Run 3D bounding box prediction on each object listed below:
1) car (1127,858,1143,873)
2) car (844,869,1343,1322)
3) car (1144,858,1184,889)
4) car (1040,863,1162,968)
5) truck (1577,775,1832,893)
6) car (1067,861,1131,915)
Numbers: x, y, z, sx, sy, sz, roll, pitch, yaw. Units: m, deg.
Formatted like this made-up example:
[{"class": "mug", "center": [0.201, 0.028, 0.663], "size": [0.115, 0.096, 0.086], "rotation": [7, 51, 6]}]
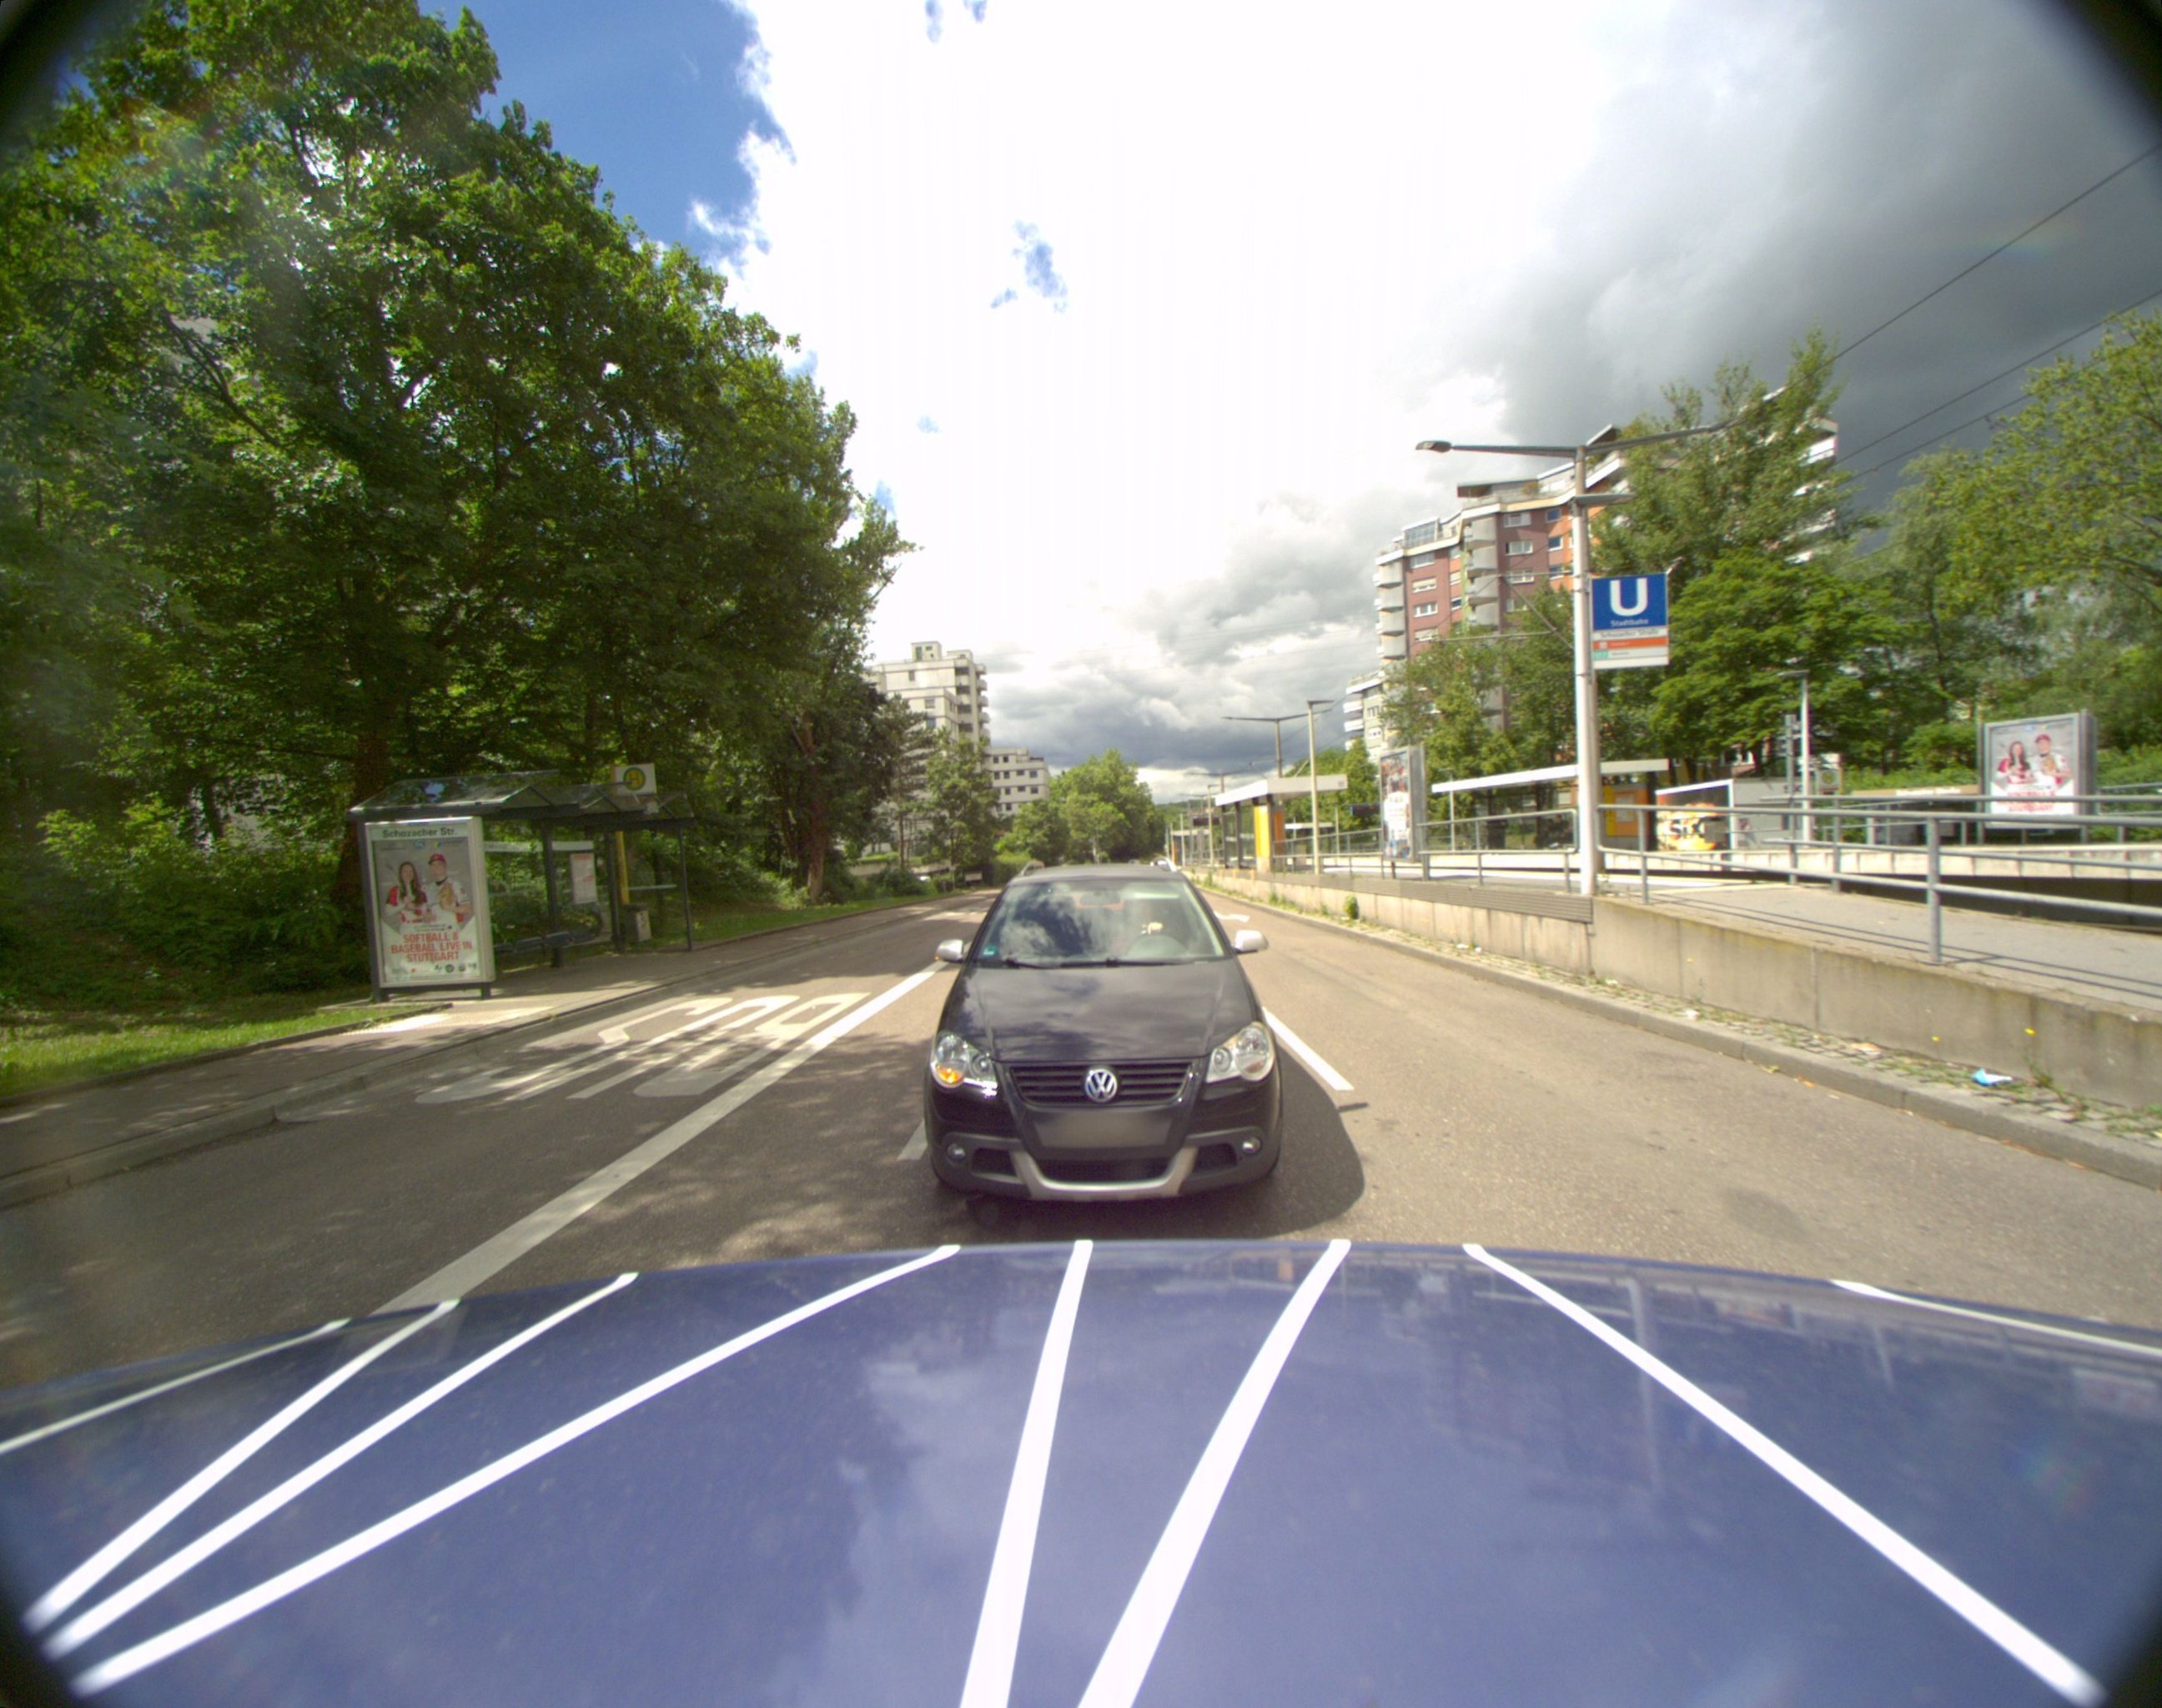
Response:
[{"class": "car", "center": [5.897, 1.216, 83.369], "size": [1.732, 1.505, 4.001], "rotation": [-2, 1, 4]}, {"class": "car", "center": [0.081, 0.915, 4.732], "size": [1.732, 1.501, 4.000], "rotation": [-2, 0, 1]}, {"class": "car", "center": [4.393, 1.020, 40.759], "size": [1.732, 1.453, 4.000], "rotation": [-2, 1, 1]}, {"class": "car", "center": [0.329, 0.929, 13.197], "size": [1.732, 1.453, 4.000], "rotation": [-2, 0, 1]}, {"class": "truck", "center": [19.807, -0.526, 24.883], "size": [2.420, 3.203, 7.263], "rotation": [-2, 0, 1]}, {"class": "car", "center": [0.608, 0.973, 23.294], "size": [1.732, 1.452, 4.001], "rotation": [-2, 0, 3]}]
